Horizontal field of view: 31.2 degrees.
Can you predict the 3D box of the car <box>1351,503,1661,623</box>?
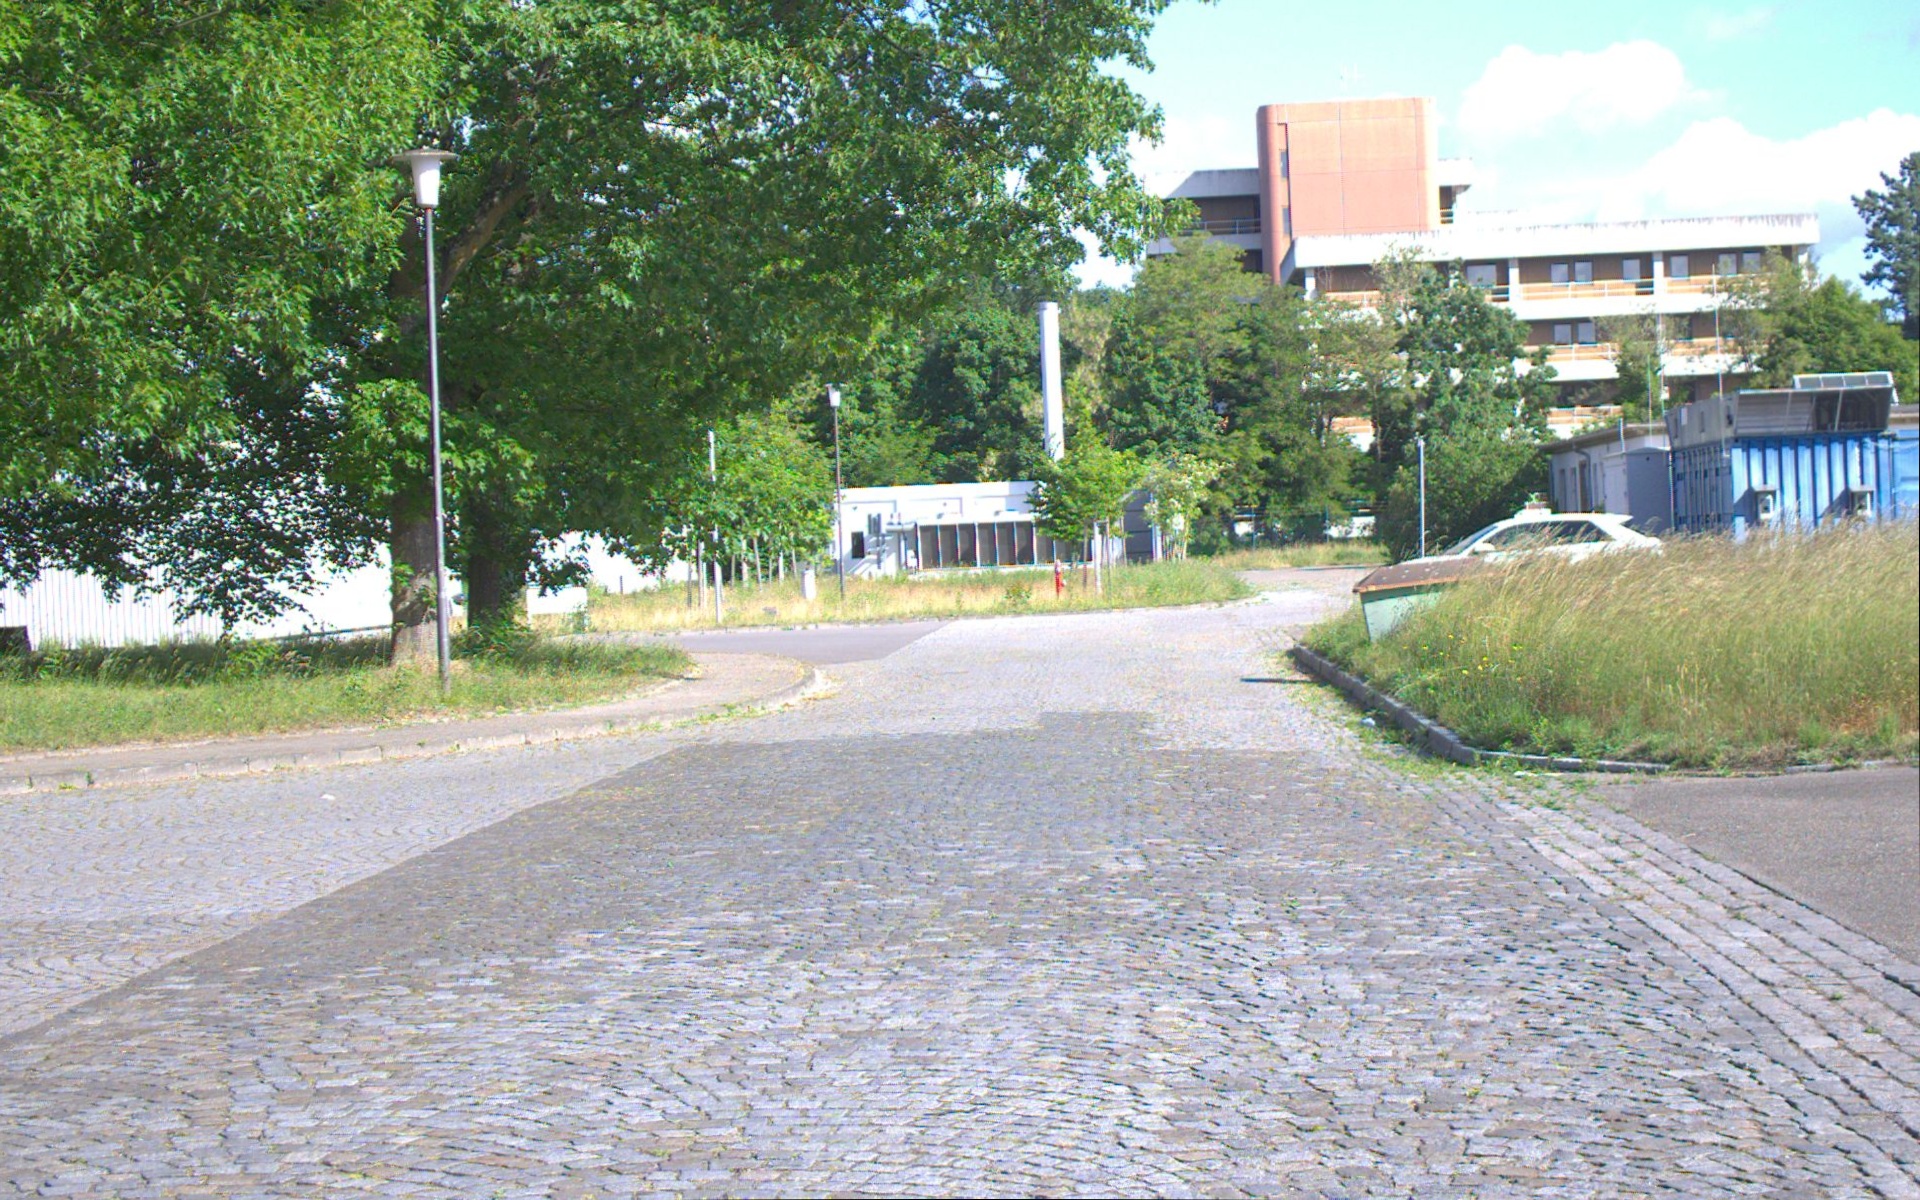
[{"bbox_3d":[8.559,-0.594,54.208,4.588,1.672,1.875,-2,1,3],"label":"car"}]
